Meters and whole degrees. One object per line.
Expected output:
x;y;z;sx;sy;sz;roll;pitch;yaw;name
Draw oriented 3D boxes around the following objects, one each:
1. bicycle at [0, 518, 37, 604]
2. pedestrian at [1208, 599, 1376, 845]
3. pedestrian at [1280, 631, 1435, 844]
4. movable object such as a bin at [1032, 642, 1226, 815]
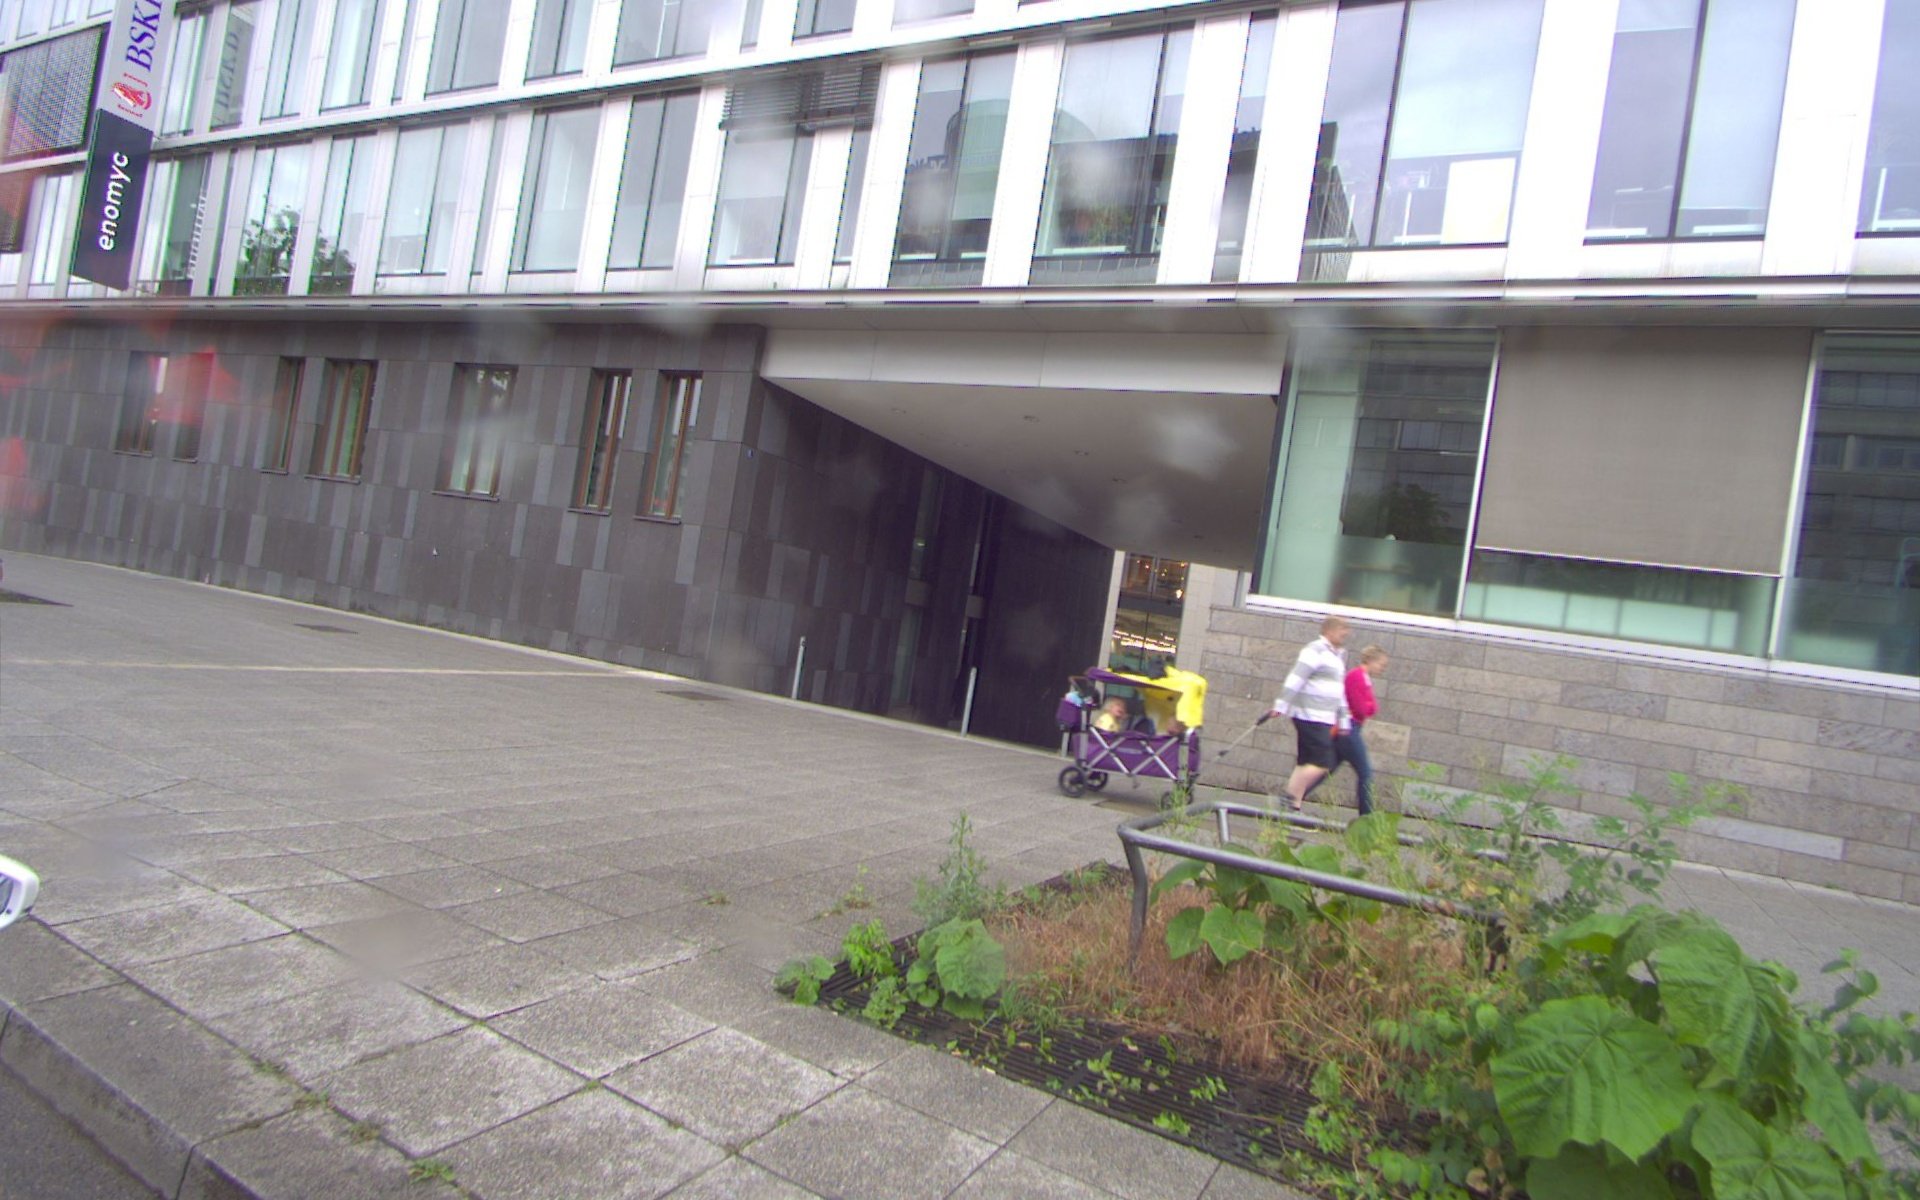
-13.068;-0.637;12.255;0.665;1.069;2.543;7;-2;27;bicycle
2.811;0.976;8.465;1.028;1.814;0.901;7;1;26;pedestrian
3.636;1.207;9.196;1.080;1.712;0.719;7;1;27;pedestrian
1.507;1.107;8.954;1.420;1.279;0.733;6;-2;29;movable object such as a bin
